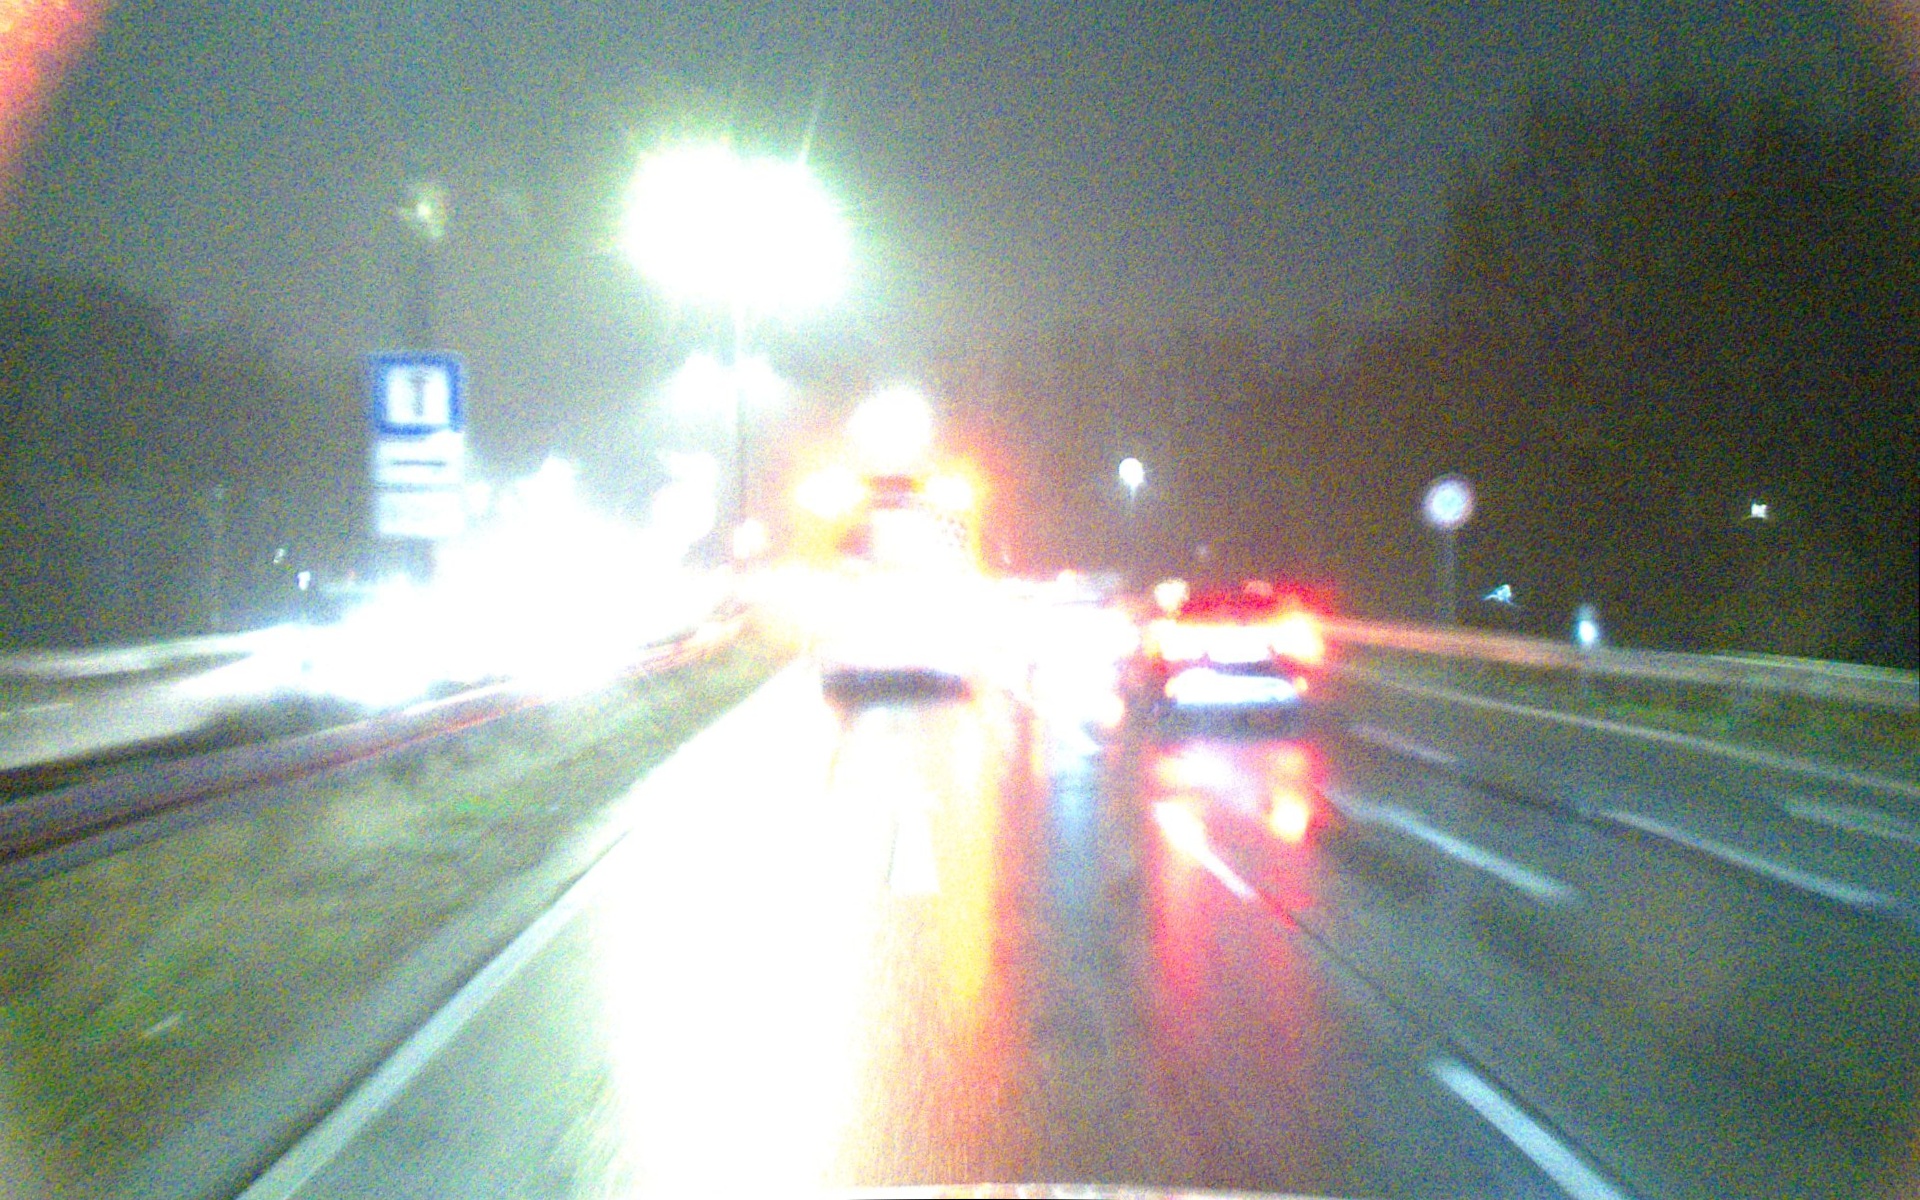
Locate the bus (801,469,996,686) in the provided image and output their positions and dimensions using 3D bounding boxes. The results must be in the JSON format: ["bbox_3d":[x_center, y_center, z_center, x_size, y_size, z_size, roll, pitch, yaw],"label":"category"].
[{"bbox_3d":[-1.156,-0.346,27.908,2.760,3.077,8.681,0,0,-4],"label":"bus"}]

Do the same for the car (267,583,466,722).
[{"bbox_3d":[-8.003,0.647,22.660,1.589,1.680,3.995,-2,0,-6],"label":"car"}]

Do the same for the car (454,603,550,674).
[{"bbox_3d":[-11.329,0.914,41.148,1.537,1.569,4.156,-4,0,-6],"label":"car"}]

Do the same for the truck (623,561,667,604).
[{"bbox_3d":[-19.670,-1.117,103.095,1.830,2.434,4.749,-2,4,-21],"label":"truck"}]

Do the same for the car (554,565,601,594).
[{"bbox_3d":[-28.059,-1.499,121.261,1.978,2.049,3.948,1,0,-36],"label":"car"}]

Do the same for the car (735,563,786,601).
[{"bbox_3d":[-11.078,-0.983,91.523,1.964,2.049,3.976,1,0,-20],"label":"car"}]

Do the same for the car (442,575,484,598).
[{"bbox_3d":[-40.456,-1.109,134.498,1.979,1.715,3.947,2,1,-38],"label":"car"}]

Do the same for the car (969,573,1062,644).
[{"bbox_3d":[1.289,0.178,40.083,1.784,1.618,3.773,-1,1,-5],"label":"car"}]

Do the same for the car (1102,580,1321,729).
[{"bbox_3d":[2.861,0.571,19.616,1.705,1.592,3.773,1,0,-5],"label":"car"}]

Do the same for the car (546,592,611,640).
[{"bbox_3d":[-14.262,0.570,62.054,1.774,1.595,3.995,-4,1,-6],"label":"car"}]

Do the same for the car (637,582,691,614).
[{"bbox_3d":[-19.357,-0.143,108.112,2.191,2.049,3.955,-1,1,-33],"label":"car"}]

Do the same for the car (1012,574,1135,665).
[{"bbox_3d":[2.134,0.335,32.107,1.784,1.618,3.773,-1,1,-5],"label":"car"}]

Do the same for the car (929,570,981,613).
[{"bbox_3d":[-0.236,-0.333,63.295,1.744,1.570,3.872,1,0,-4],"label":"car"}]
